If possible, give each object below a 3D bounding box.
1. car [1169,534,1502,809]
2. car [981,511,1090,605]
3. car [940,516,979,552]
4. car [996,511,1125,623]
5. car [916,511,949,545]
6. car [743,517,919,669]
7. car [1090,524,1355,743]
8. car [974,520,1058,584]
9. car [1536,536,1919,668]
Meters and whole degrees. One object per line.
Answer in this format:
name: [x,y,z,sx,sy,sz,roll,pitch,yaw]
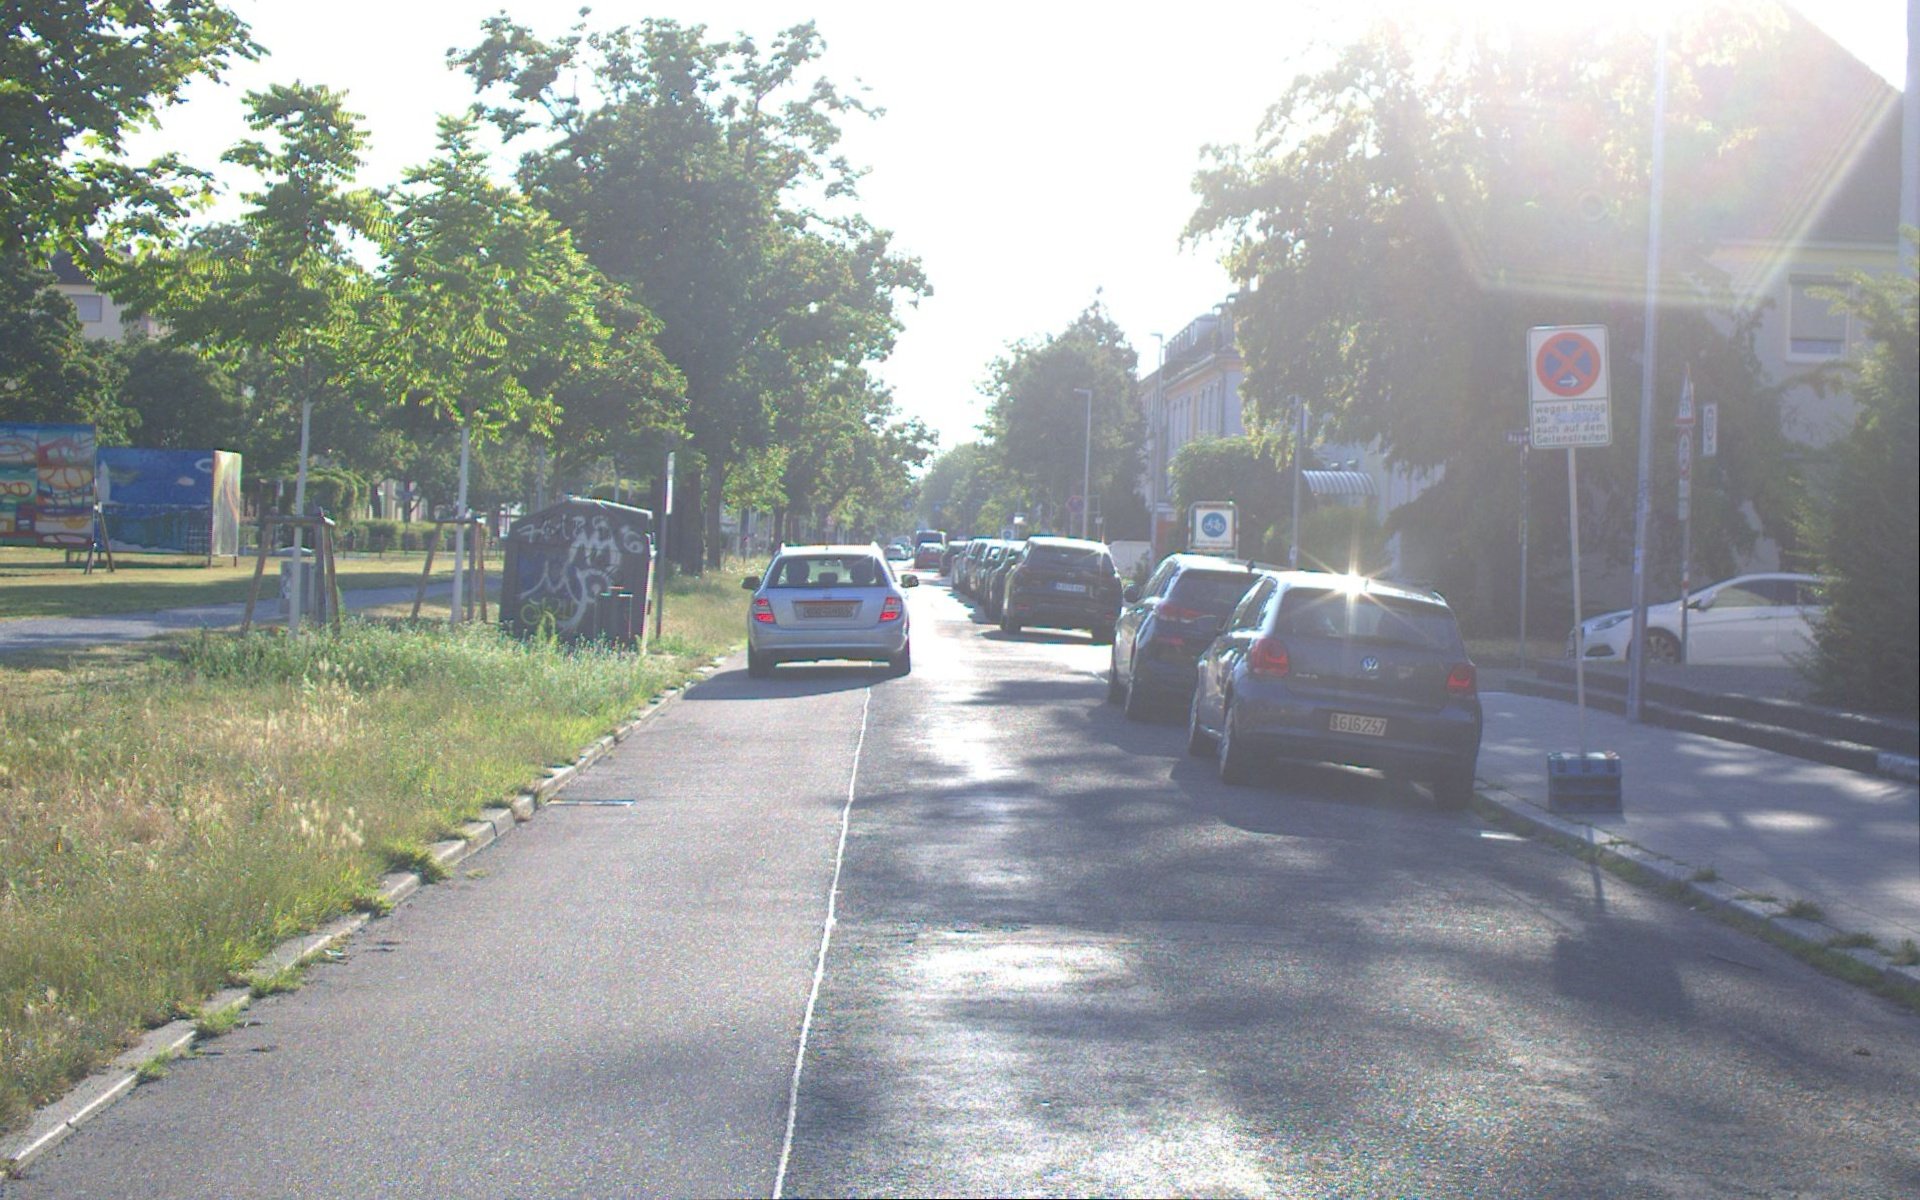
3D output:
car: [2.521,0.417,24.022,1.687,1.522,4.175,6,2,-1]
car: [1.530,-0.902,71.101,1.933,1.714,4.622,4,2,-1]
car: [-0.033,-3.017,157.373,1.721,1.591,4.000,1,0,0]
car: [1.683,-0.578,59.207,1.832,1.726,5.032,4,1,-1]
car: [-1.745,-4.525,215.695,1.988,2.016,4.000,2,1,0]
car: [-1.379,-0.123,38.194,1.823,1.561,4.000,0,2,0]
car: [2.268,0.230,30.875,1.822,1.556,4.622,8,2,0]
car: [1.402,-1.228,87.015,1.993,1.457,4.562,3,1,0]
car: [10.231,0.048,45.360,4.846,1.481,2.002,2,-2,-1]
